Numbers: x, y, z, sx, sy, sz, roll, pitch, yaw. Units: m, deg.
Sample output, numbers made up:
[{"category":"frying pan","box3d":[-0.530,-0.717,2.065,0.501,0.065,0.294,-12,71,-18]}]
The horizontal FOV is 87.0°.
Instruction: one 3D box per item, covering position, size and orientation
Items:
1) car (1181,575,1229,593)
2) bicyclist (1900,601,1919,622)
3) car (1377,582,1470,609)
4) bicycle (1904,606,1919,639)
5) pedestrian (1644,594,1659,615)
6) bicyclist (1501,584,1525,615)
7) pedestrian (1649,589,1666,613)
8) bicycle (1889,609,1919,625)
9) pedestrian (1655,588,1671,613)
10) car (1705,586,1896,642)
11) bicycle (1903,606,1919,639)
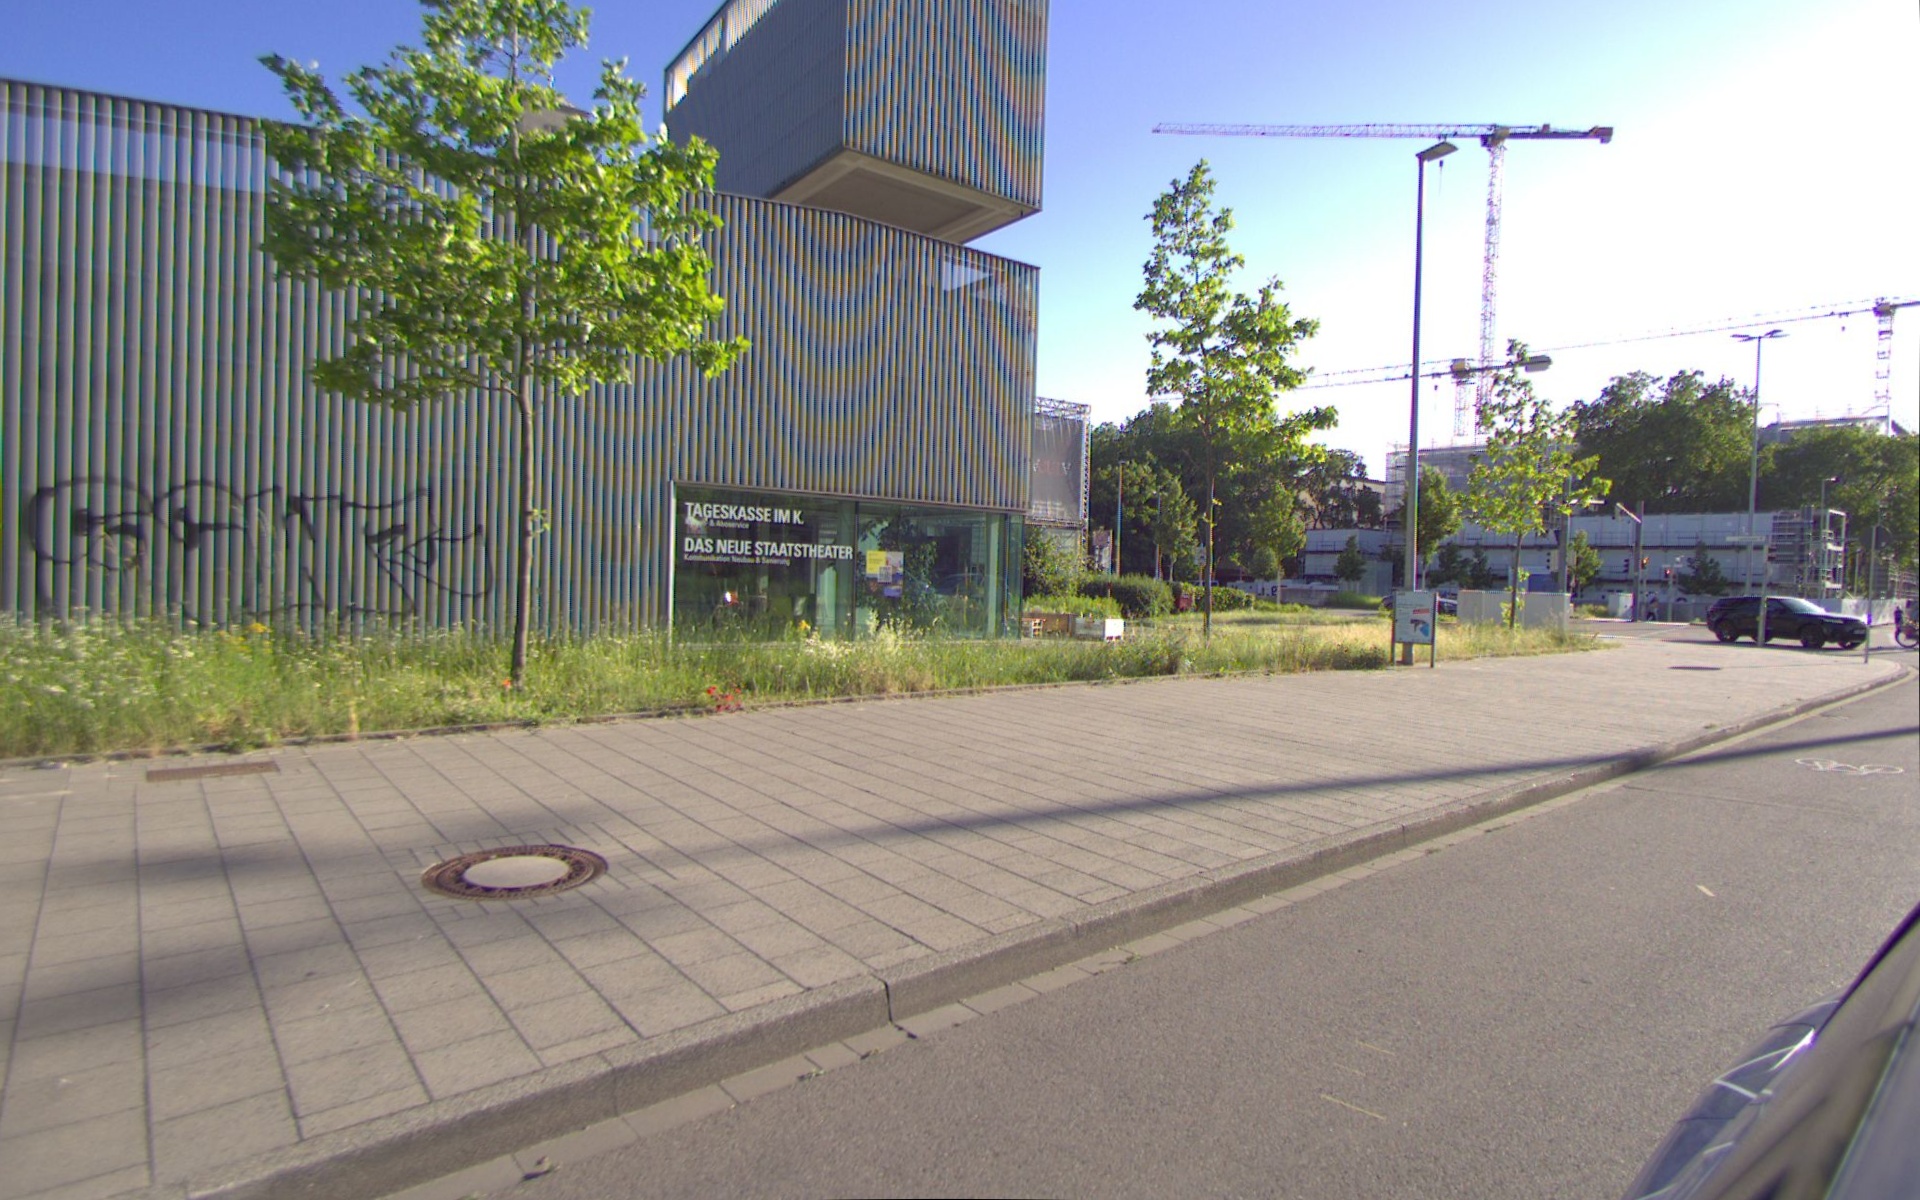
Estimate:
[{"category":"car","box3d":[27.392,-1.793,113.011,5.223,1.915,2.002,1,1,-30]},{"category":"bicyclist","box3d":[57.603,0.696,61.328,0.788,1.286,0.639,1,0,-18]},{"category":"car","box3d":[26.030,-0.283,56.965,1.742,1.368,4.529,0,2,-33]},{"category":"bicycle","box3d":[33.225,0.808,34.208,0.640,1.107,1.801,1,1,-34]},{"category":"pedestrian","box3d":[47.411,0.311,69.419,0.592,1.471,0.654,1,1,-34]},{"category":"bicyclist","box3d":[28.178,-0.030,51.568,0.935,1.522,0.615,2,2,44]},{"category":"pedestrian","box3d":[48.131,0.091,69.825,0.824,1.609,0.654,1,1,-34]},{"category":"bicycle","box3d":[57.648,1.027,61.165,0.788,0.939,2.082,1,1,-18]},{"category":"pedestrian","box3d":[48.873,0.022,70.344,0.824,1.701,0.654,1,1,-34]},{"category":"car","box3d":[28.767,0.409,34.863,1.958,1.683,4.803,1,1,-13]},{"category":"bicycle","box3d":[33.737,0.815,34.780,0.614,1.130,1.816,1,1,-35]}]
